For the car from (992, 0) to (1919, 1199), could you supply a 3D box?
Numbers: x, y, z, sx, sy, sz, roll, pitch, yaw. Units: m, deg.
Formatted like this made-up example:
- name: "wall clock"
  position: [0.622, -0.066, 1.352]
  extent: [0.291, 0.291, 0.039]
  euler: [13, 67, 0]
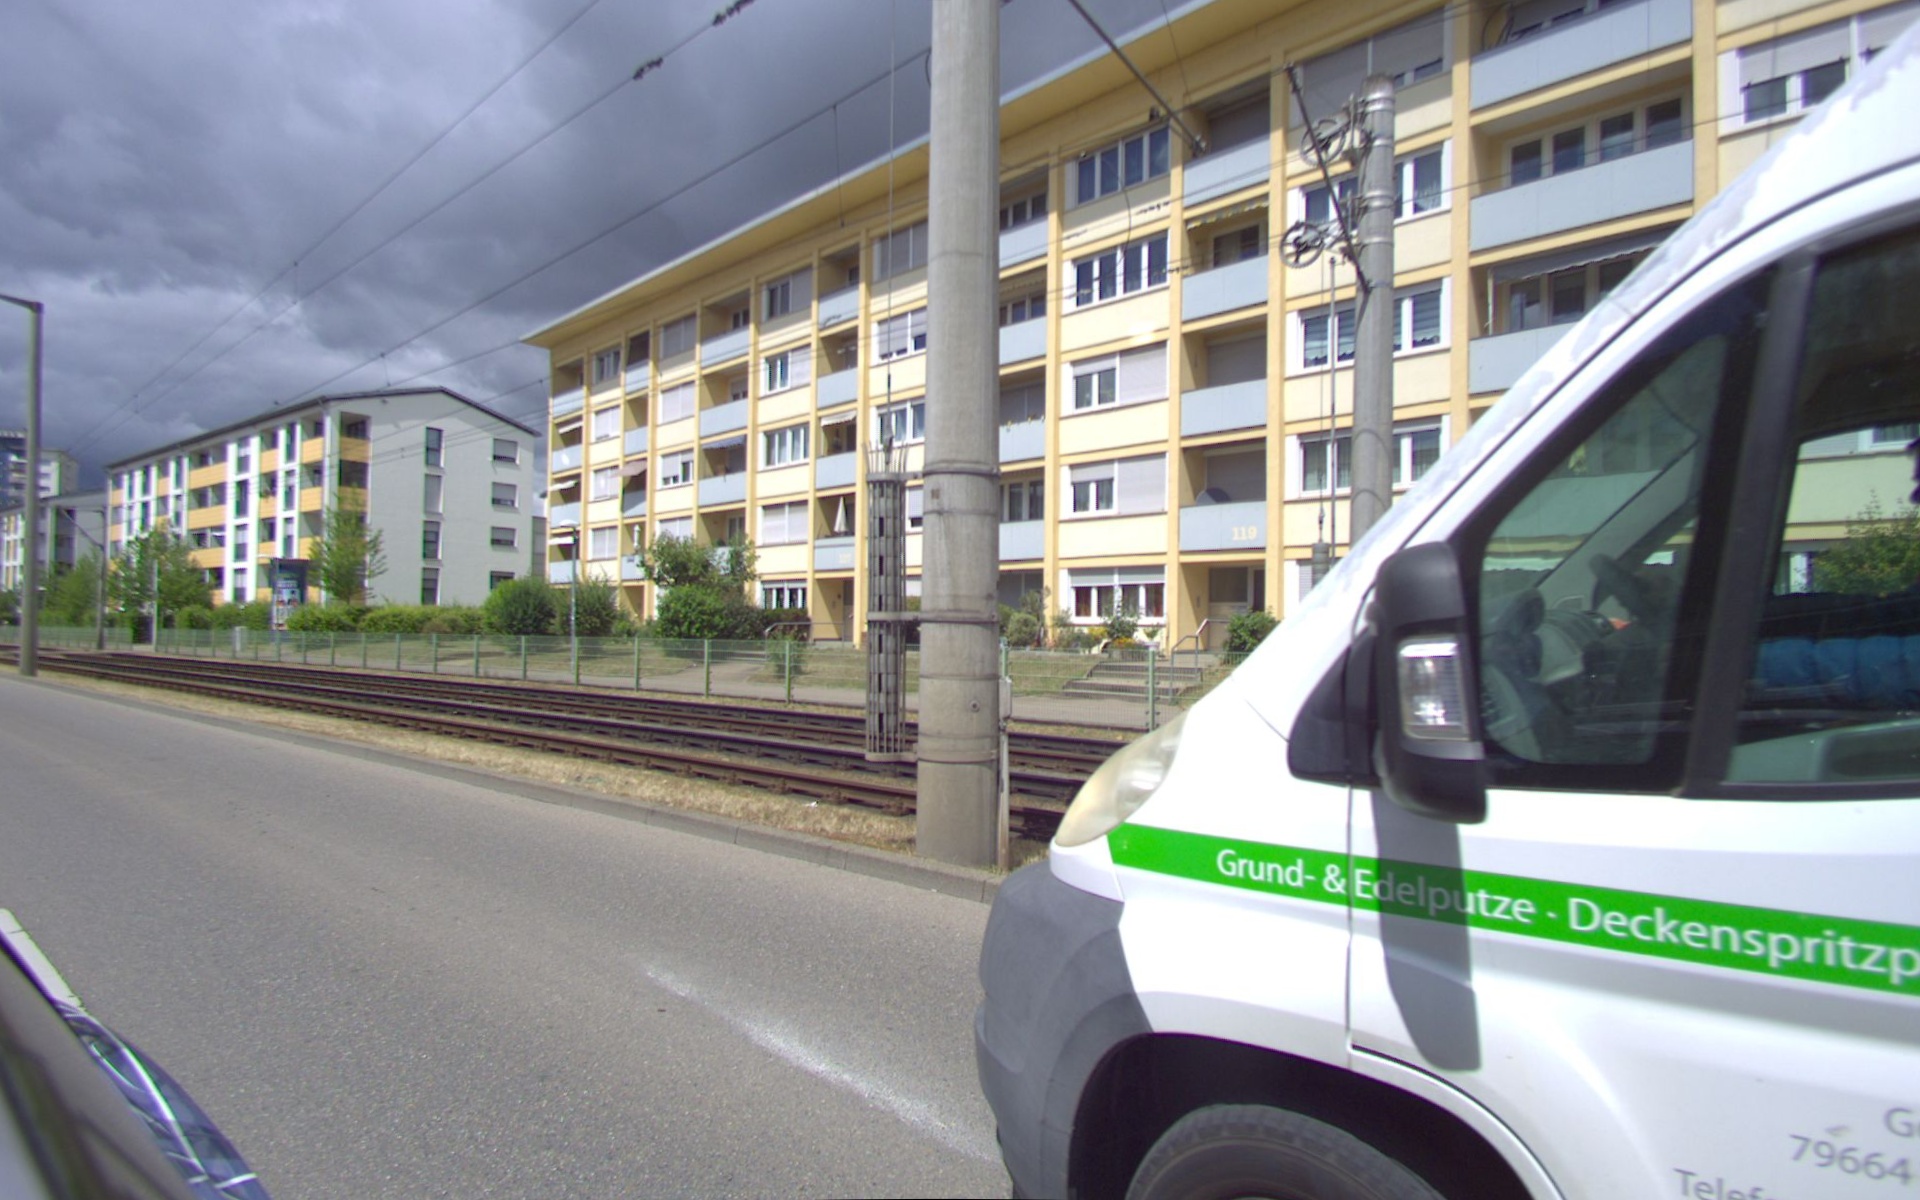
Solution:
- name: "car"
  position: [2.714, 0.132, 1.078]
  extent: [5.082, 2.493, 2.208]
  euler: [-1, -3, 40]
